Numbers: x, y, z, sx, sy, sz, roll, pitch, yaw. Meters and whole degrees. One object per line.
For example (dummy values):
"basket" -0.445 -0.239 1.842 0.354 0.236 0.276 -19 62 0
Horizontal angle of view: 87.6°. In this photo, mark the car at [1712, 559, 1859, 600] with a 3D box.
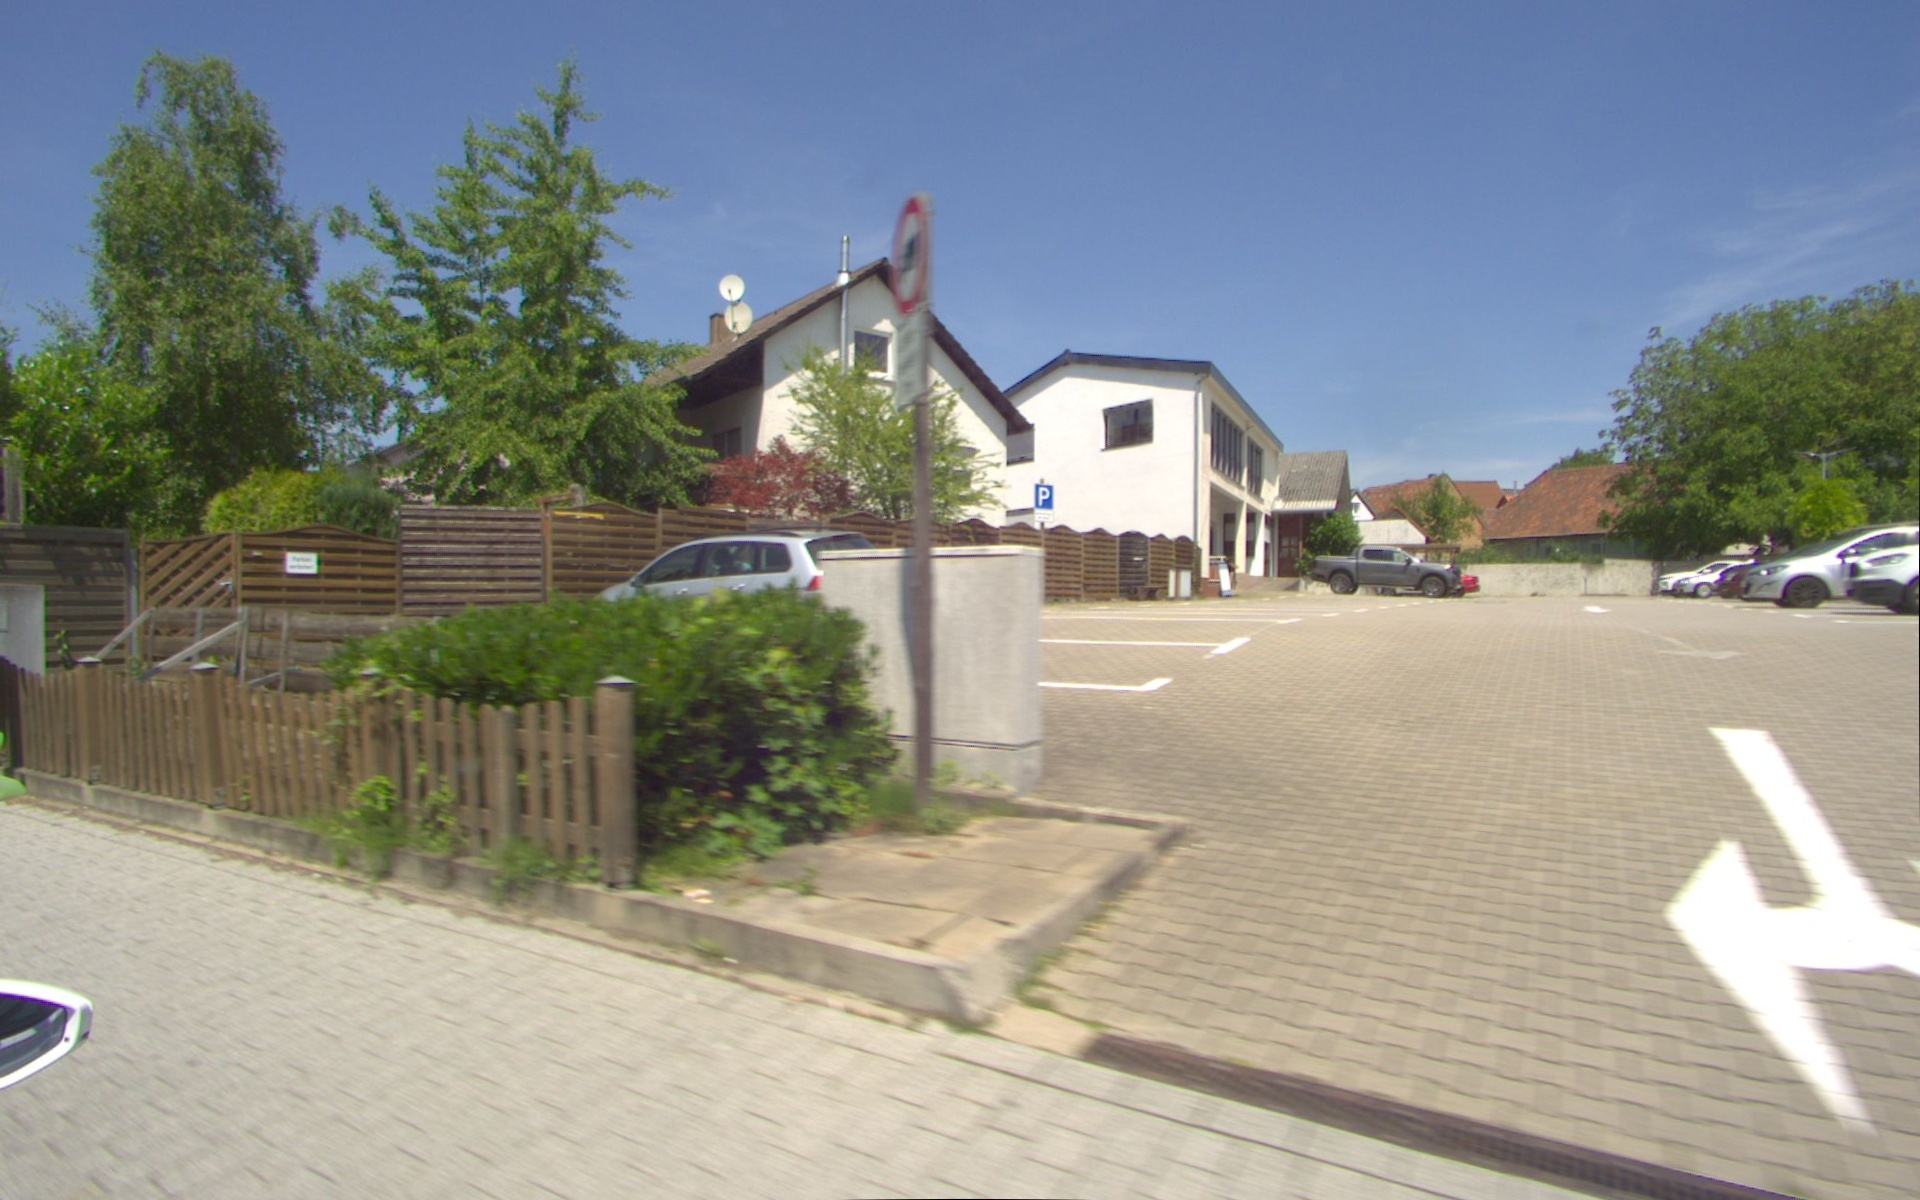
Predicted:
"car" 30.827 -0.747 37.547 4.030 1.433 1.636 0 3 32

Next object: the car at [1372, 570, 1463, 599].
"car" 22.102 -0.736 48.414 3.862 1.275 1.597 0 3 32

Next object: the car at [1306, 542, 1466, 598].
"car" 16.113 -1.112 37.975 5.353 1.976 2.131 0 3 32

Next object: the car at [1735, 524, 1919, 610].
"car" 17.015 -0.615 18.683 3.824 1.530 1.615 0 3 31

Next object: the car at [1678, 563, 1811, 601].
"car" 31.349 -0.713 40.168 4.030 1.433 1.636 0 3 32

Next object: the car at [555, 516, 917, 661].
"car" -2.849 -0.161 12.375 4.438 1.485 1.624 0 6 32

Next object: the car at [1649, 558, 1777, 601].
"car" 33.413 -0.901 44.589 4.319 1.809 1.825 0 3 30

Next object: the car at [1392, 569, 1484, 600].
"car" 23.999 -0.752 50.332 4.030 1.432 1.637 0 -1 32

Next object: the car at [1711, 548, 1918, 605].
"car" 22.877 -0.633 27.031 4.030 1.433 1.636 0 3 32

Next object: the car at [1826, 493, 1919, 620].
"car" 15.049 -0.660 14.061 4.069 1.771 1.903 0 3 32
